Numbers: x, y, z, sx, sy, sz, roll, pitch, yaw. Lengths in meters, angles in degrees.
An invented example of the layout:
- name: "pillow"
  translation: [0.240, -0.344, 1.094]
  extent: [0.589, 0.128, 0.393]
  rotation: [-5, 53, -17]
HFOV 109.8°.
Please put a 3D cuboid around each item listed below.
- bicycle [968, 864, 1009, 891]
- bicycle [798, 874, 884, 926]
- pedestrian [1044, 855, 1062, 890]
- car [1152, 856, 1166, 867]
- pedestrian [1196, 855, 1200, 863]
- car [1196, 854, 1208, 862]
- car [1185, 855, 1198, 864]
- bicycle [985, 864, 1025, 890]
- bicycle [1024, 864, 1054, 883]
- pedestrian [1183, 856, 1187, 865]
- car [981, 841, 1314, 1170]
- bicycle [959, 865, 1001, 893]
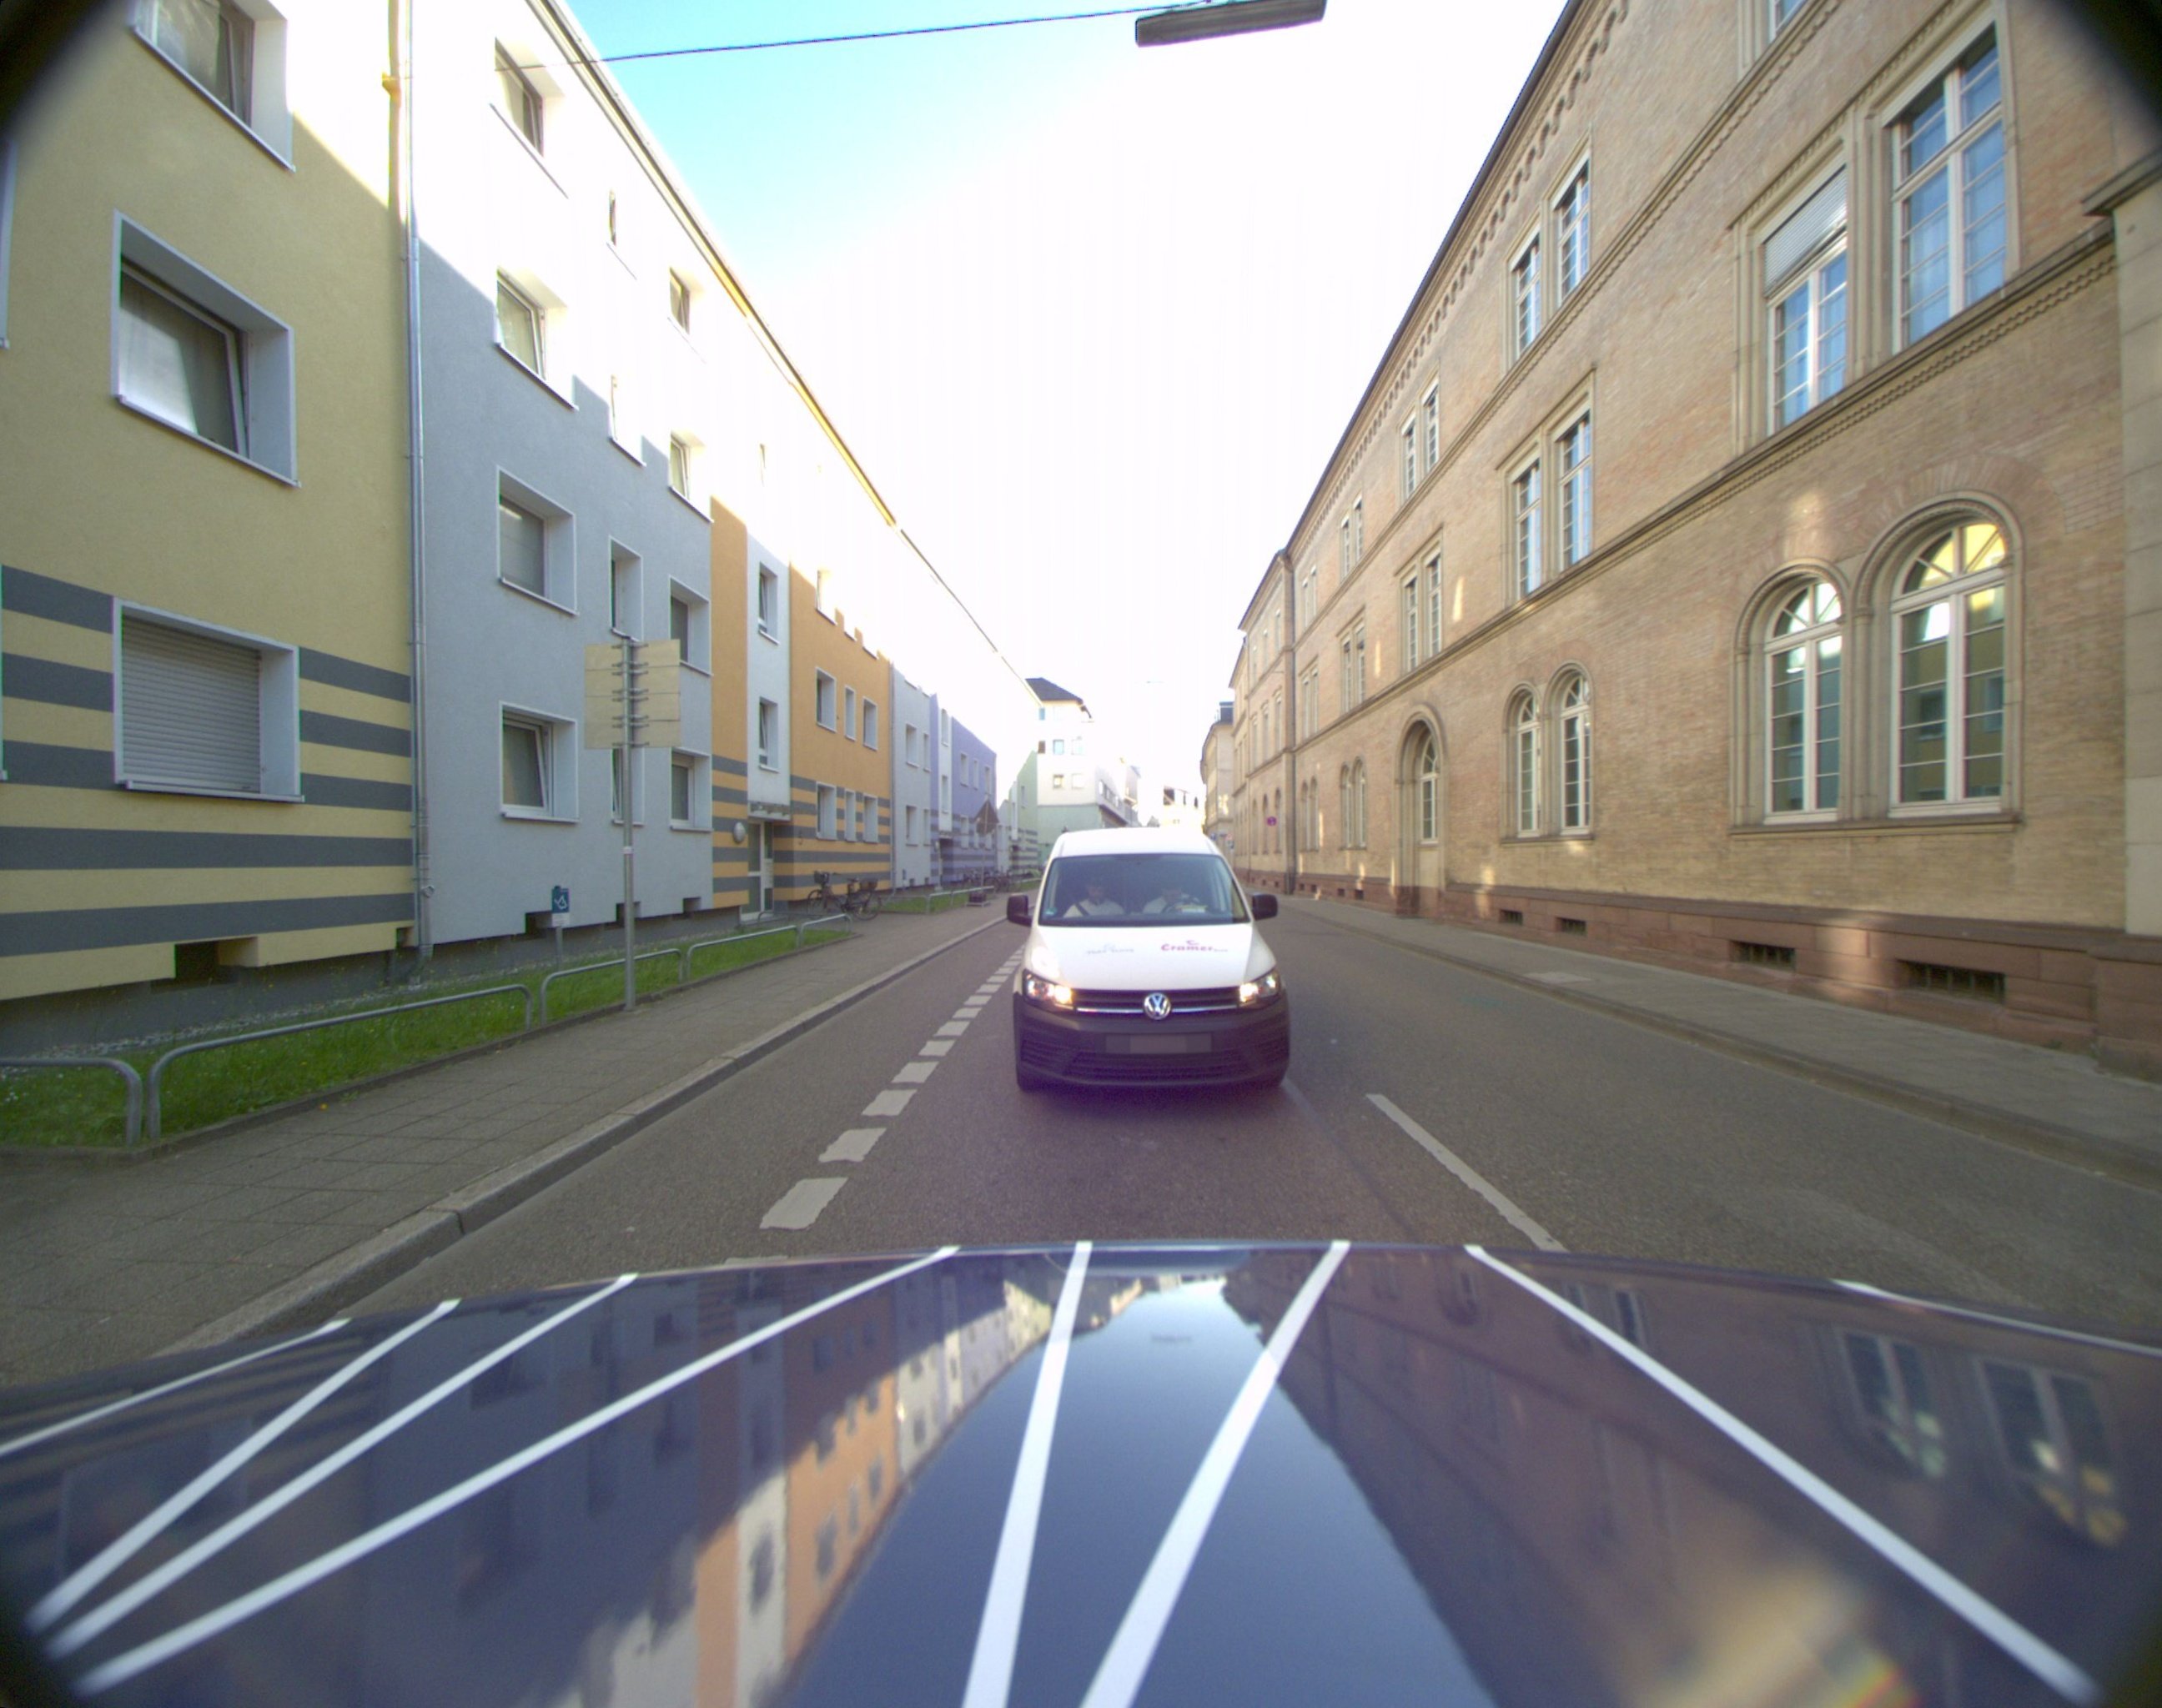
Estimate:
- name: "bicycle"
  translation: [-4.028, 1.029, 33.131]
  extent: [1.676, 1.145, 0.484]
  rotation: [0, 0, 4]
- name: "bicycle"
  translation: [-5.382, 1.022, 17.101]
  extent: [1.780, 1.116, 0.484]
  rotation: [0, 0, -5]
- name: "pedestrian"
  translation: [-1.323, 0.881, 36.514]
  extent: [0.705, 1.627, 0.833]
  rotation: [2, 2, 5]
- name: "car"
  translation: [12.653, 1.208, 122.696]
  extent: [1.997, 1.643, 4.231]
  rotation: [-2, 1, 9]
- name: "pedestrian"
  translation: [22.546, 0.981, 146.529]
  extent: [0.704, 1.627, 0.833]
  rotation: [3, 2, 14]
- name: "car"
  translation: [26.098, 0.820, 163.749]
  extent: [1.996, 1.643, 4.233]
  rotation: [-2, 1, 17]
- name: "car"
  translation: [22.115, 1.104, 152.018]
  extent: [1.996, 1.643, 4.233]
  rotation: [-2, 1, 17]
- name: "bicycle"
  translation: [-3.369, 1.013, 33.676]
  extent: [1.676, 1.145, 0.484]
  rotation: [0, 0, 4]
- name: "bicycle"
  translation: [-2.512, 1.163, 46.048]
  extent: [1.779, 1.145, 0.484]
  rotation: [0, 0, 0]
- name: "pedestrian"
  translation: [18.123, 1.137, 132.454]
  extent: [0.705, 1.627, 0.833]
  rotation: [3, 2, 12]
- name: "car"
  translation: [0.398, 0.789, 6.747]
  extent: [1.769, 1.761, 5.331]
  rotation: [-1, 1, 1]
- name: "bicycle"
  translation: [-4.232, 1.056, 31.837]
  extent: [1.676, 1.145, 0.484]
  rotation: [0, 0, 4]
